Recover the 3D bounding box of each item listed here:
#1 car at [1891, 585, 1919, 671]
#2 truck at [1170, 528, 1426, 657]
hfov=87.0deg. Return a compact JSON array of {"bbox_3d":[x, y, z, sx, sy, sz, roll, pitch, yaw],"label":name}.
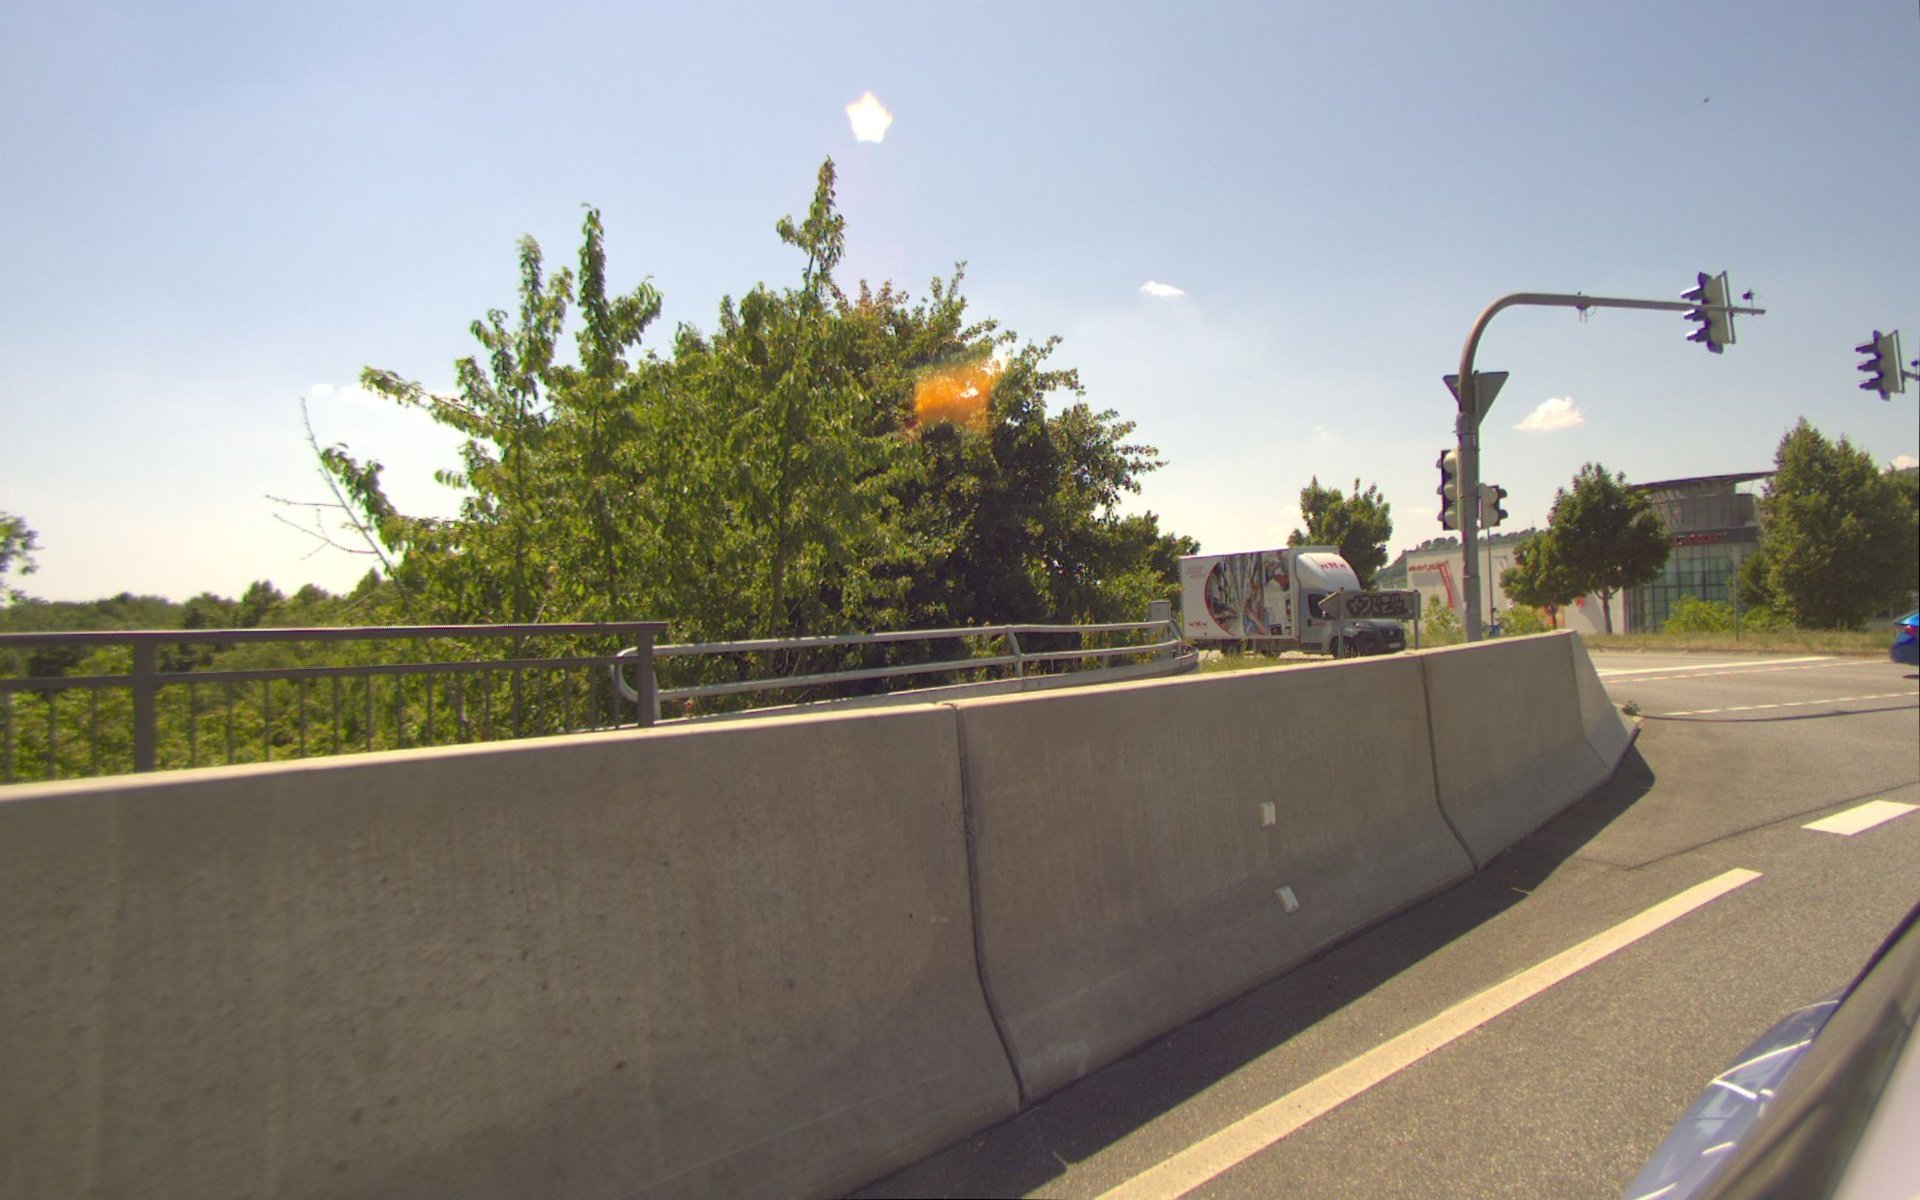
[{"bbox_3d":[18.534,0.432,16.700,1.683,1.481,4.482,-2,0,-40],"label":"car"},{"bbox_3d":[9.858,-0.069,30.419,2.370,3.390,7.202,-3,-1,-33],"label":"truck"}]
